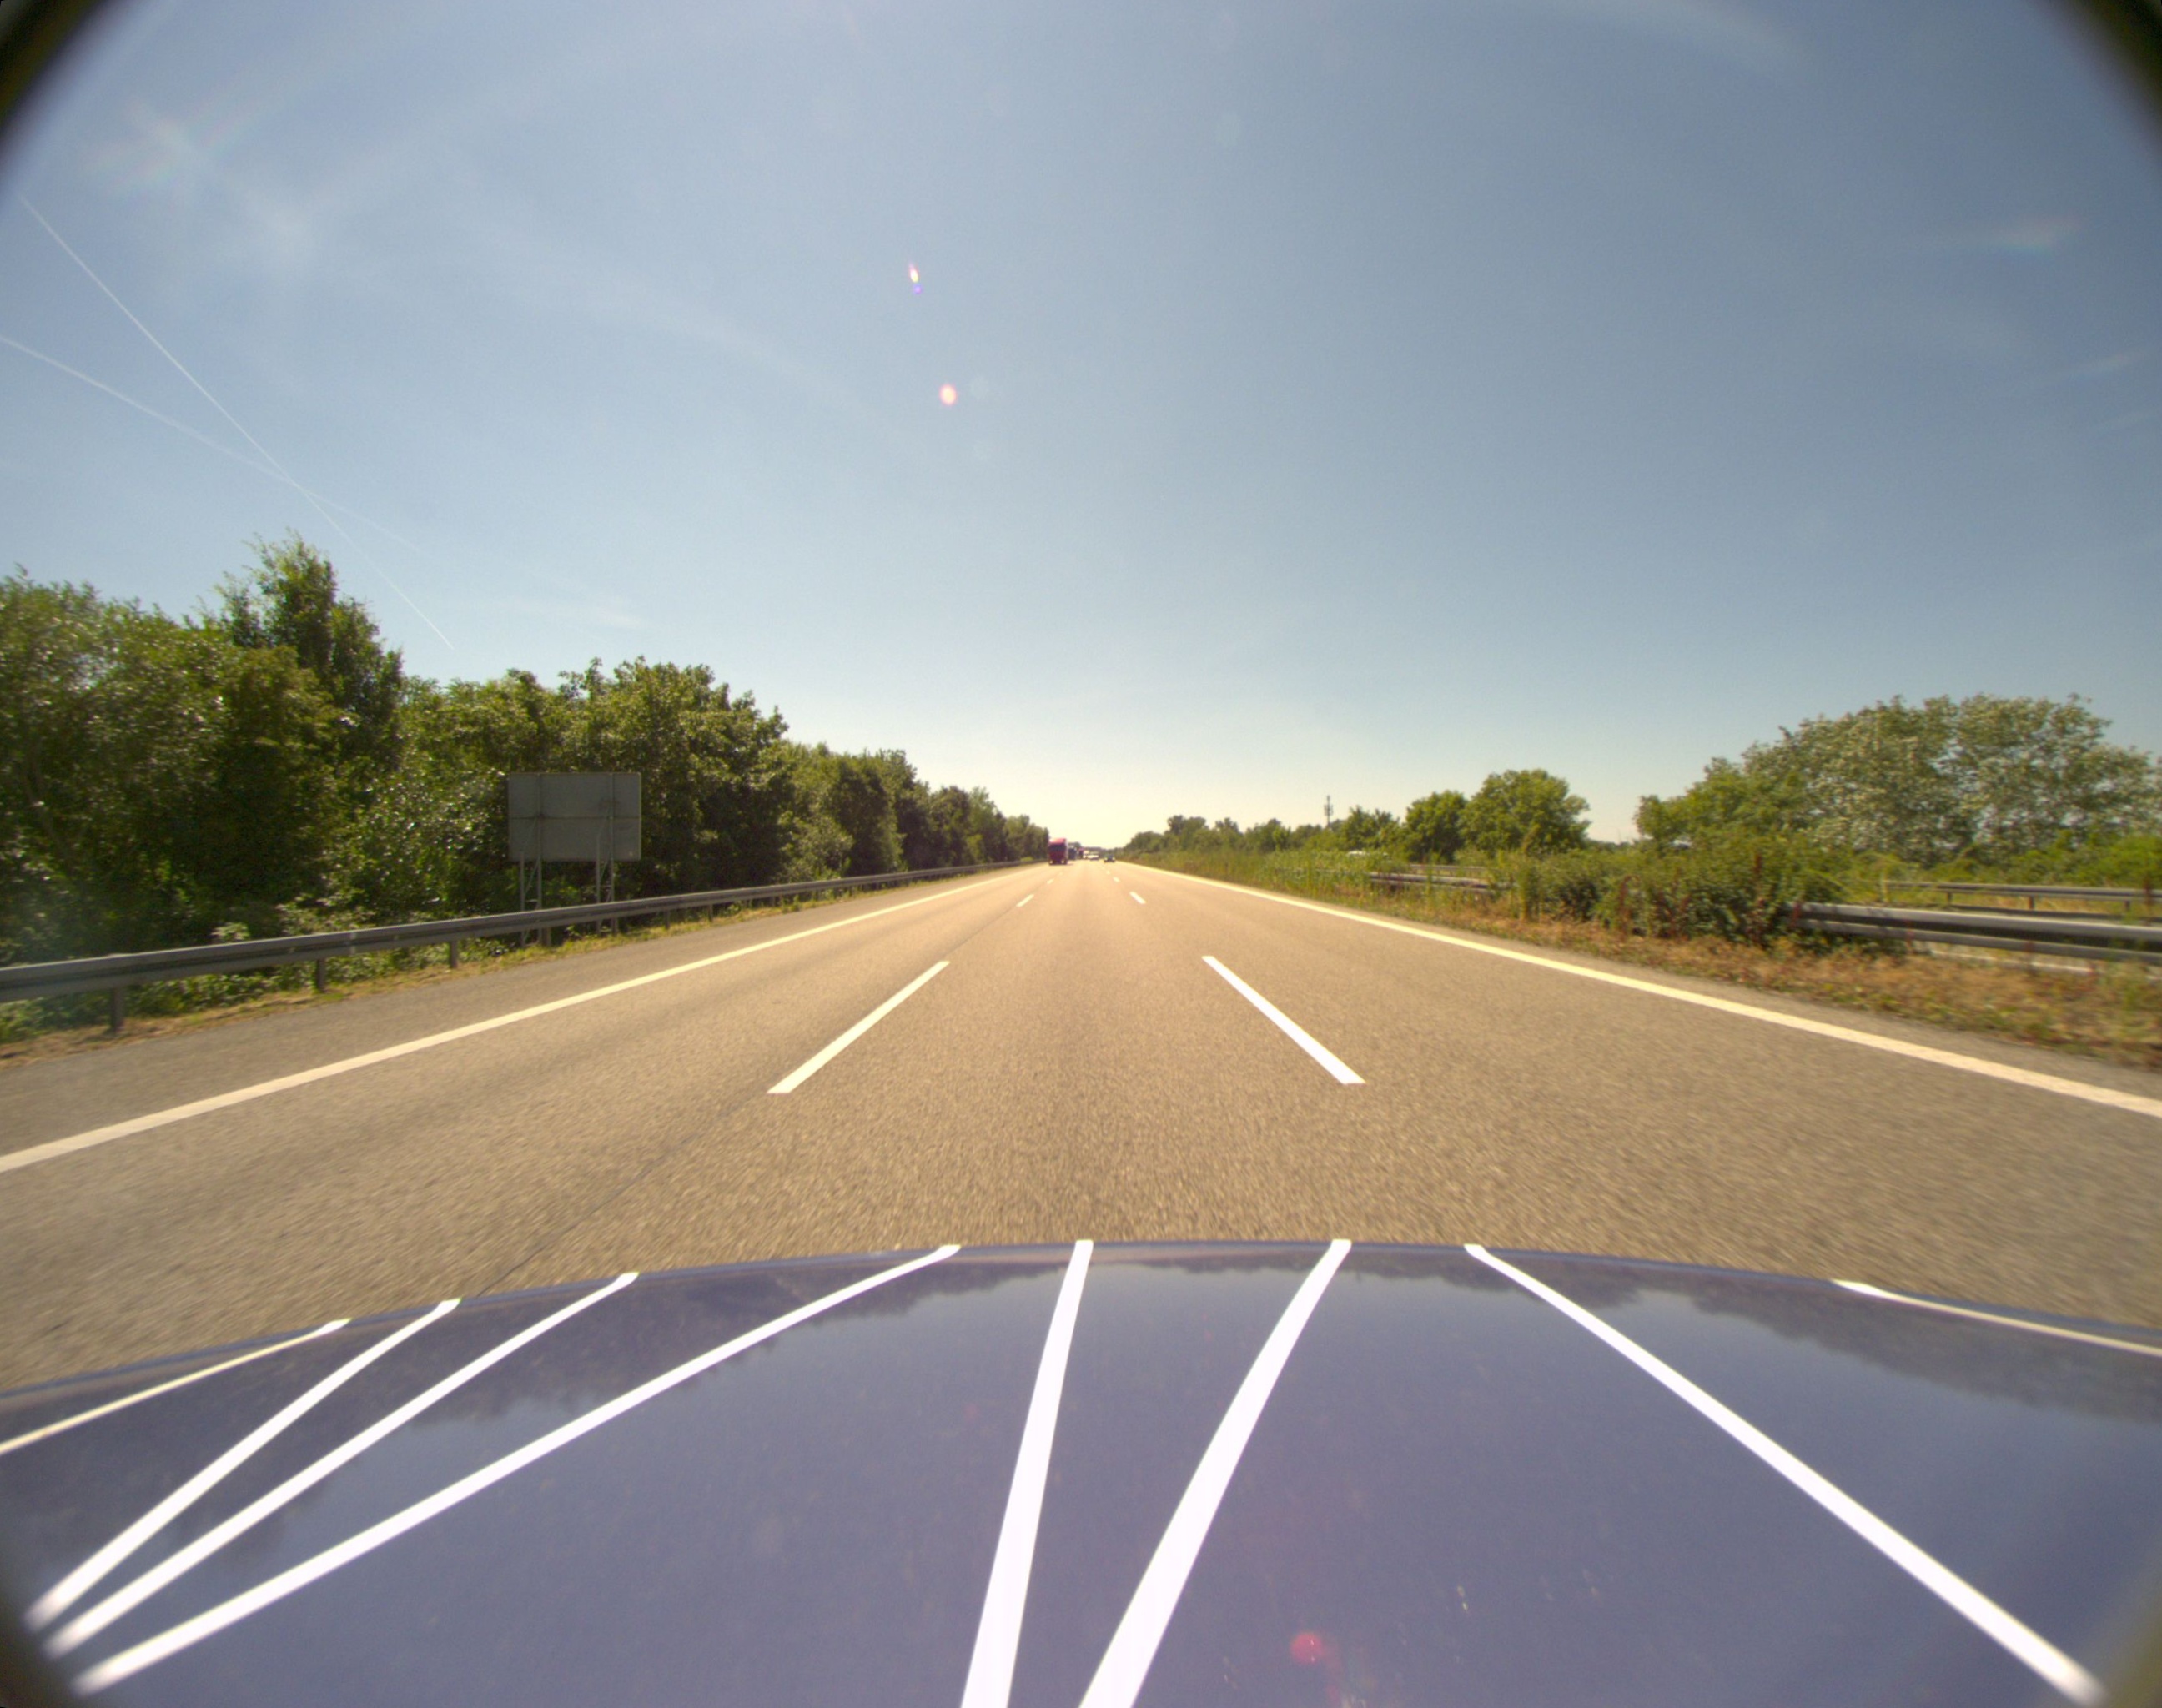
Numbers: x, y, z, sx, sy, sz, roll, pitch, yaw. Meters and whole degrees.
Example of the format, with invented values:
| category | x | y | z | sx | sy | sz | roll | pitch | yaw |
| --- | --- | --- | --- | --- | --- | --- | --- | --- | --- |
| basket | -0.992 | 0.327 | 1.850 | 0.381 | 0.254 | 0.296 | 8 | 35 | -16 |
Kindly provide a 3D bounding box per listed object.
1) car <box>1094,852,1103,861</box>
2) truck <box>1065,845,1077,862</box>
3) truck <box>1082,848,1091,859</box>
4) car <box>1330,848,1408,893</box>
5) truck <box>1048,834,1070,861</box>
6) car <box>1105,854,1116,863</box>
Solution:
| category | x | y | z | sx | sy | sz | roll | pitch | yaw |
| --- | --- | --- | --- | --- | --- | --- | --- | --- | --- |
| car | 3.970 | 0.556 | 173.948 | 1.998 | 2.002 | 4.756 | -2 | 0 | 0 |
| truck | -2.613 | -0.142 | 210.051 | 2.938 | 4.429 | 10.260 | -2 | 0 | 1 |
| truck | 1.809 | -0.071 | 244.520 | 2.726 | 3.391 | 9.769 | -2 | 0 | 1 |
| car | 14.040 | 0.744 | 37.406 | 1.998 | 2.002 | 4.755 | -2 | 0 | 0 |
| truck | -3.322 | -0.968 | 117.025 | 2.938 | 3.934 | 10.260 | -2 | 0 | 1 |
| car | 4.928 | 0.680 | 127.024 | 1.736 | 1.433 | 4.000 | -2 | 0 | 1 |
